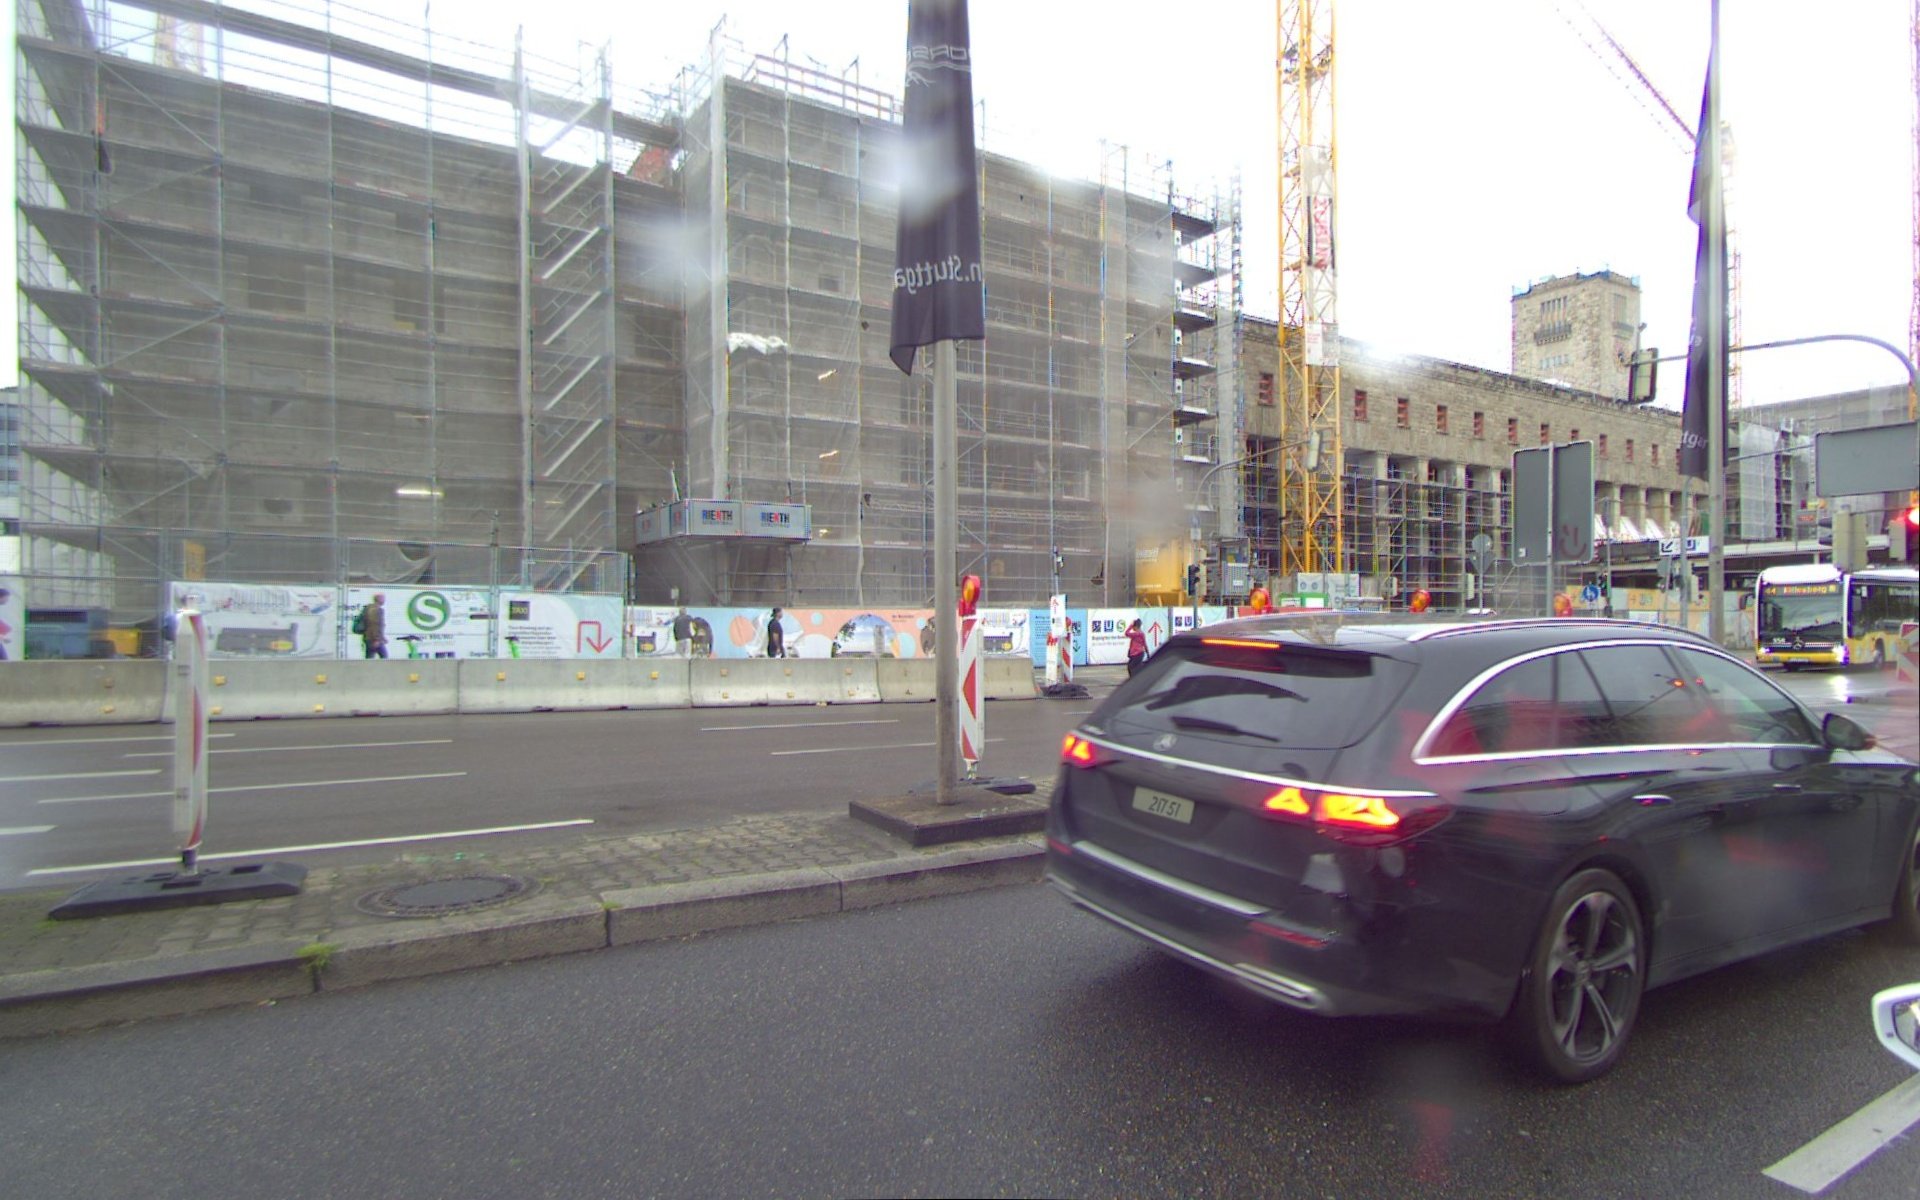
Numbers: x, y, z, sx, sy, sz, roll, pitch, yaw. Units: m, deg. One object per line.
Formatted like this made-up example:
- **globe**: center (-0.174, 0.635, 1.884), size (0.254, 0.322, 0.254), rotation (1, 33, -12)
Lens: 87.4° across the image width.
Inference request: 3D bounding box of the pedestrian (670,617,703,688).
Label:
- **pedestrian**: center (-7.350, 1.394, 26.974), size (0.709, 1.860, 0.478), rotation (1, 0, -30)

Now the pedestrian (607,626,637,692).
- **pedestrian**: center (-9.667, 1.675, 28.731), size (0.709, 1.860, 0.478), rotation (1, 0, -30)

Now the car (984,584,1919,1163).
- **car**: center (2.523, 0.749, 4.537), size (4.533, 1.489, 1.846), rotation (2, 0, -30)

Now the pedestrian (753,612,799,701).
- **pedestrian**: center (-3.990, 1.215, 21.797), size (0.810, 1.860, 0.575), rotation (1, 0, -30)

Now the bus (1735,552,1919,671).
- **bus**: center (30.753, 0.467, 34.724), size (10.119, 3.650, 2.655), rotation (2, 0, -30)

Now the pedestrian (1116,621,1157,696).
- **pedestrian**: center (4.212, 1.386, 23.987), size (0.613, 1.740, 0.794), rotation (1, -2, -33)

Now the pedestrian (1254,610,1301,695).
- **pedestrian**: center (7.315, 1.193, 23.142), size (0.614, 1.915, 0.793), rotation (1, 0, -38)

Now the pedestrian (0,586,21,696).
- **pedestrian**: center (-16.605, 0.693, 17.137), size (0.709, 1.860, 0.583), rotation (1, 0, -30)

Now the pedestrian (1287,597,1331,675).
- **pedestrian**: center (8.424, 0.859, 24.244), size (0.810, 1.860, 0.575), rotation (1, 0, -30)

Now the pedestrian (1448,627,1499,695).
- **pedestrian**: center (12.534, 1.479, 24.541), size (0.771, 1.581, 0.875), rotation (2, 0, 3)

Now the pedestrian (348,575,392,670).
- **pedestrian**: center (-11.769, 0.444, 20.037), size (0.709, 1.860, 0.478), rotation (1, 0, -30)

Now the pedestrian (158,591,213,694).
- **pedestrian**: center (-14.285, 0.776, 18.543), size (0.709, 1.860, 0.478), rotation (1, 0, -30)

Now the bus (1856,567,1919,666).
- **bus**: center (39.432, 0.723, 39.958), size (10.092, 3.650, 2.655), rotation (2, 0, -30)
